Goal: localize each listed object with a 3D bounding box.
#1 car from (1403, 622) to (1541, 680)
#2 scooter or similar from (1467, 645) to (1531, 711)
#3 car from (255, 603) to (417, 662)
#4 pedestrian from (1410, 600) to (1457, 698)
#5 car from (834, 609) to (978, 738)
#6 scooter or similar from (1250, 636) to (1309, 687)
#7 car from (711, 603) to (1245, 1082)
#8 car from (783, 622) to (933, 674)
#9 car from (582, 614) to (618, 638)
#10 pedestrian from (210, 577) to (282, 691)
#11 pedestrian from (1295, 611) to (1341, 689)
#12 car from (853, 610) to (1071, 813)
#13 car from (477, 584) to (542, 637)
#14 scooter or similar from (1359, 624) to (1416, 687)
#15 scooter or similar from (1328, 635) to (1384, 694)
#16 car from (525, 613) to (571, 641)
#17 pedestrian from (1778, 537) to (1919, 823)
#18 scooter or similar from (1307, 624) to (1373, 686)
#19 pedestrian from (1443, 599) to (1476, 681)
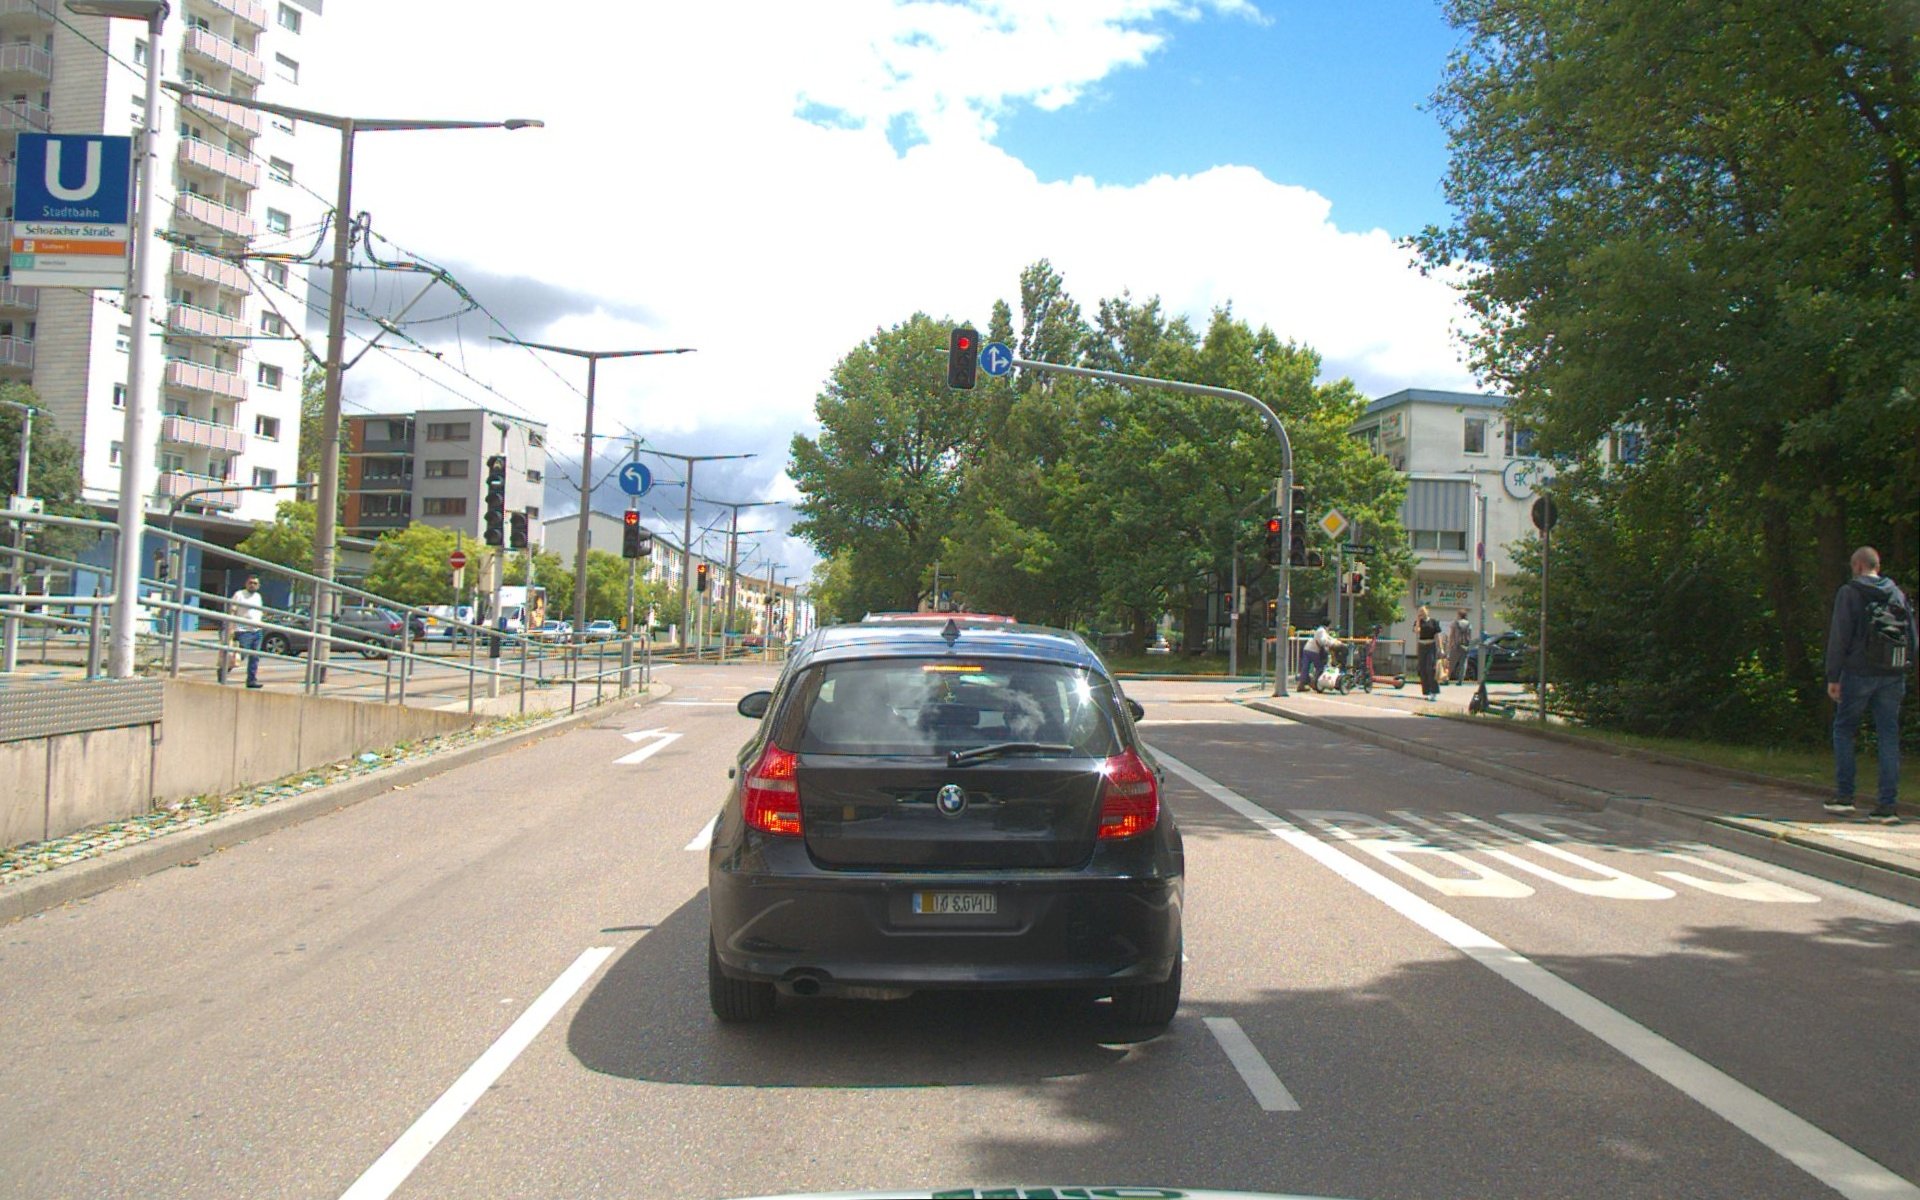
[{"bbox_3d":[15.017,1.489,48.540,3.515,1.629,1.706,1,-1,-13],"label":"car"},{"bbox_3d":[9.388,1.360,28.785,1.133,1.118,0.329,1,-1,-25],"label":"scooter or similar"},{"bbox_3d":[-17.290,0.893,45.978,3.913,1.553,1.672,1,0,-9],"label":"car"},{"bbox_3d":[9.225,0.951,32.211,0.744,1.821,0.569,4,-1,16],"label":"pedestrian"},{"bbox_3d":[-0.684,0.852,20.721,1.621,1.443,3.515,1,0,-2],"label":"car"},{"bbox_3d":[6.192,1.195,32.022,1.102,0.974,0.299,1,-1,-17],"label":"scooter or similar"},{"bbox_3d":[0.087,0.750,6.841,1.620,1.443,3.517,1,0,1],"label":"car"},{"bbox_3d":[-3.011,1.404,48.531,4.243,1.419,1.709,1,0,-9],"label":"car"},{"bbox_3d":[-25.941,1.870,119.292,1.927,1.624,3.997,1,0,-3],"label":"car"},{"bbox_3d":[-11.108,0.521,25.734,0.844,1.726,0.686,1,-1,40],"label":"pedestrian"},{"bbox_3d":[6.854,0.944,31.685,0.846,1.468,0.799,1,-1,11],"label":"pedestrian"},{"bbox_3d":[0.015,0.817,13.742,1.562,1.443,3.516,1,0,0],"label":"car"},{"bbox_3d":[-24.044,0.569,88.468,2.096,2.686,5.356,1,0,-2],"label":"car"},{"bbox_3d":[8.804,1.138,34.071,1.087,1.280,0.331,1,-1,-13],"label":"scooter or similar"},{"bbox_3d":[7.587,1.214,31.652,0.402,1.069,1.780,1,0,35],"label":"scooter or similar"},{"bbox_3d":[-24.952,1.614,100.247,1.927,1.624,3.997,1,0,-3],"label":"car"},{"bbox_3d":[6.584,0.553,11.843,0.785,1.928,1.270,2,-1,0],"label":"pedestrian"},{"bbox_3d":[7.616,1.103,33.159,1.267,1.210,0.383,1,-1,-17],"label":"scooter or similar"},{"bbox_3d":[11.484,0.916,38.022,0.600,1.821,0.569,4,-1,18],"label":"pedestrian"}]
